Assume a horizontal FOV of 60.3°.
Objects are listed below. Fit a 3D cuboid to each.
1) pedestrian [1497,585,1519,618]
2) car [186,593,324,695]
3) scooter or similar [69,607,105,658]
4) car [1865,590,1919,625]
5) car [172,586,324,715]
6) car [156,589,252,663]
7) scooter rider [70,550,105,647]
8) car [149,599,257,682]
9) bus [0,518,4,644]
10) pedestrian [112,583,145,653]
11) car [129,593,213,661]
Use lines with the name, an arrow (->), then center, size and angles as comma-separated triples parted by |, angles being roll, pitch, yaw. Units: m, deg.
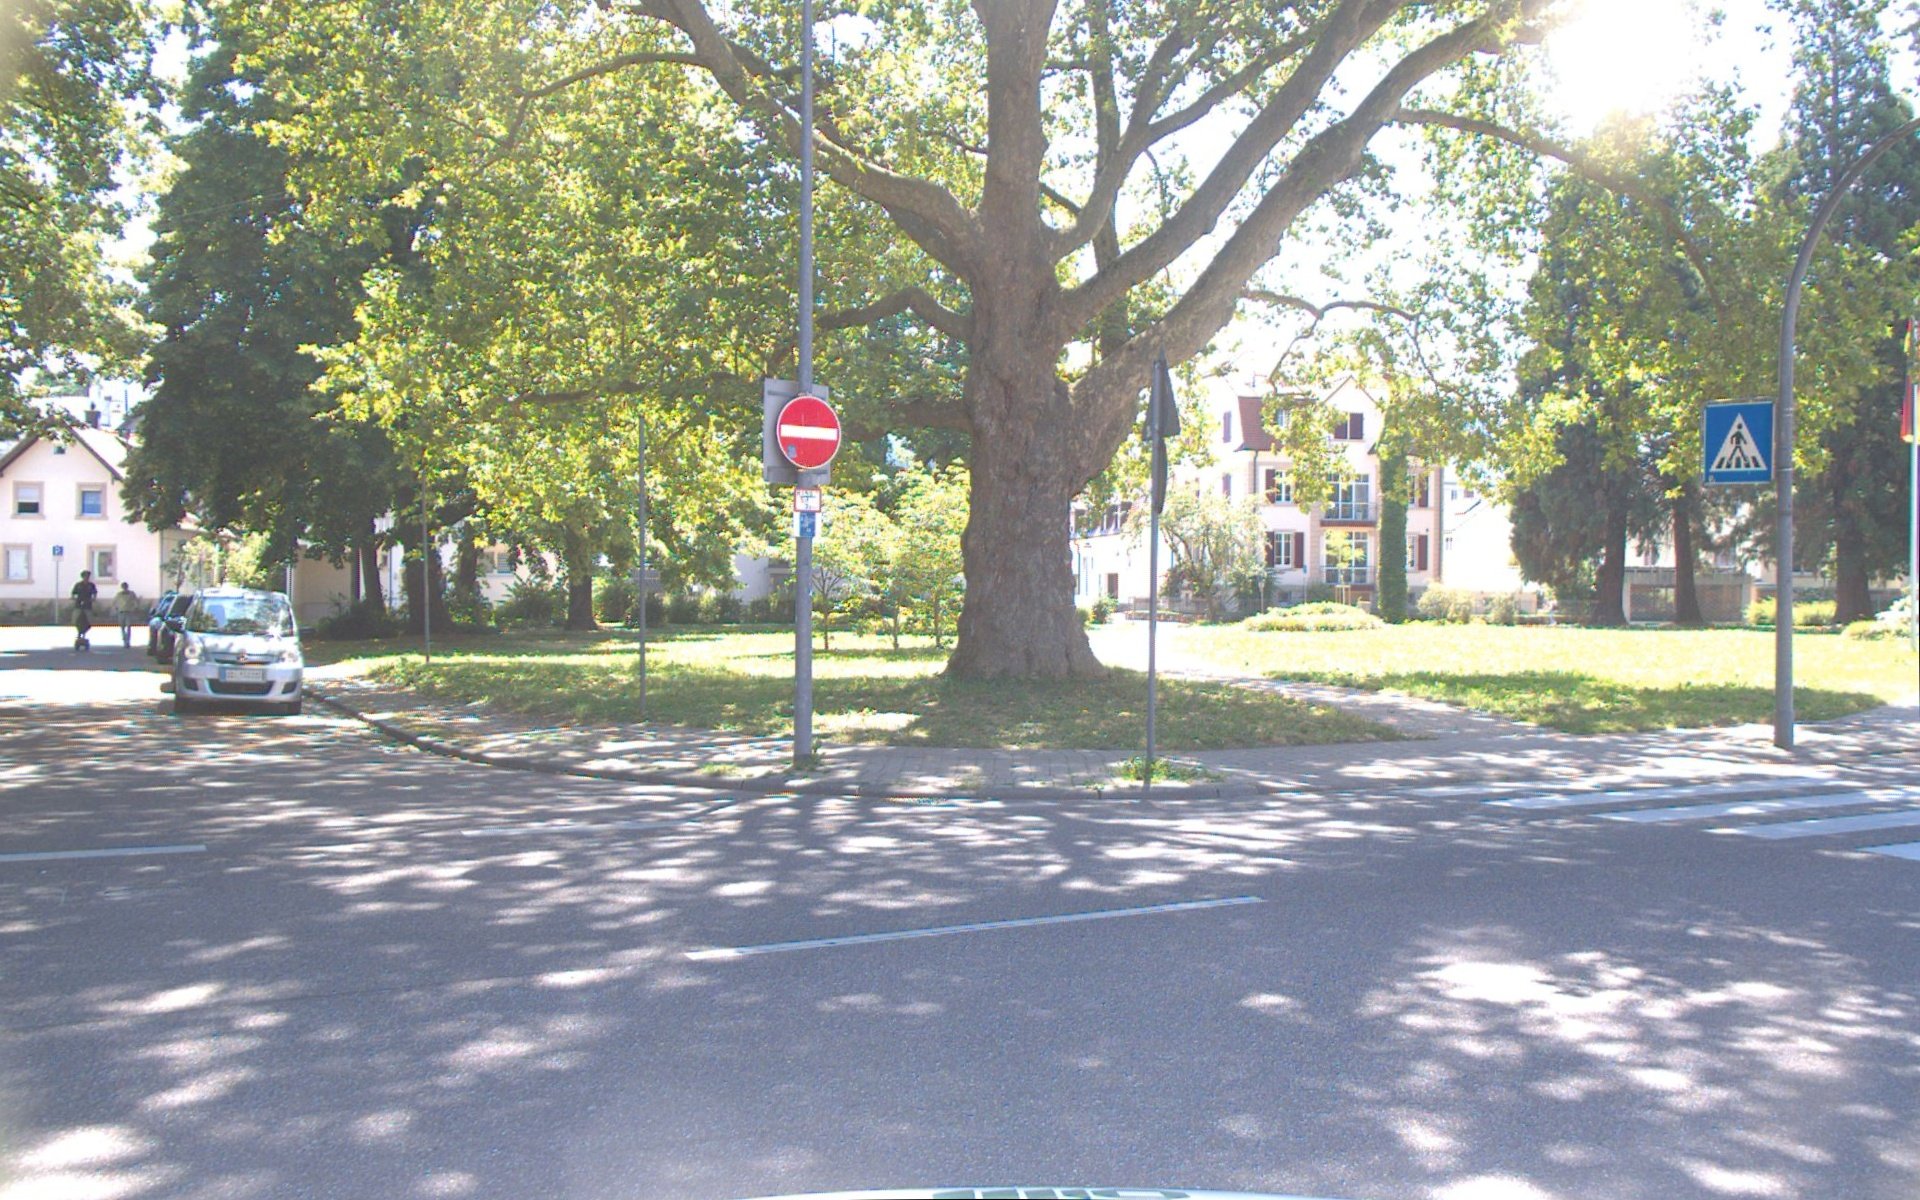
pedestrian -> 23.991, 0.051, 72.365 | 0.808, 1.394, 0.618 | 3, 2, 22
car -> -11.339, 0.656, 26.455 | 1.729, 1.464, 4.464 | 2, 0, -27
scooter or similar -> -21.460, 0.789, 40.678 | 0.729, 1.204, 1.506 | 0, 1, -26
car -> 51.577, 0.407, 89.942 | 3.923, 1.782, 1.868 | 1, 2, -17
car -> -9.304, 0.601, 21.485 | 1.576, 1.523, 3.455 | 2, 0, -27
car -> -16.697, 0.517, 36.433 | 1.734, 1.519, 4.336 | 0, 0, -27
scooter rider -> -21.460, -0.046, 40.686 | 0.729, 2.358, 0.919 | 0, 0, -26
car -> -14.757, 0.725, 32.130 | 1.729, 1.464, 4.728 | 0, 0, -27
bus -> -23.891, -0.472, 37.548 | 2.834, 3.352, 15.812 | 0, 0, -27
pedestrian -> -22.081, 0.463, 43.929 | 0.709, 1.834, 0.935 | 0, 0, -22
car -> -19.021, 0.614, 39.796 | 1.734, 1.519, 3.883 | 0, 0, -27
